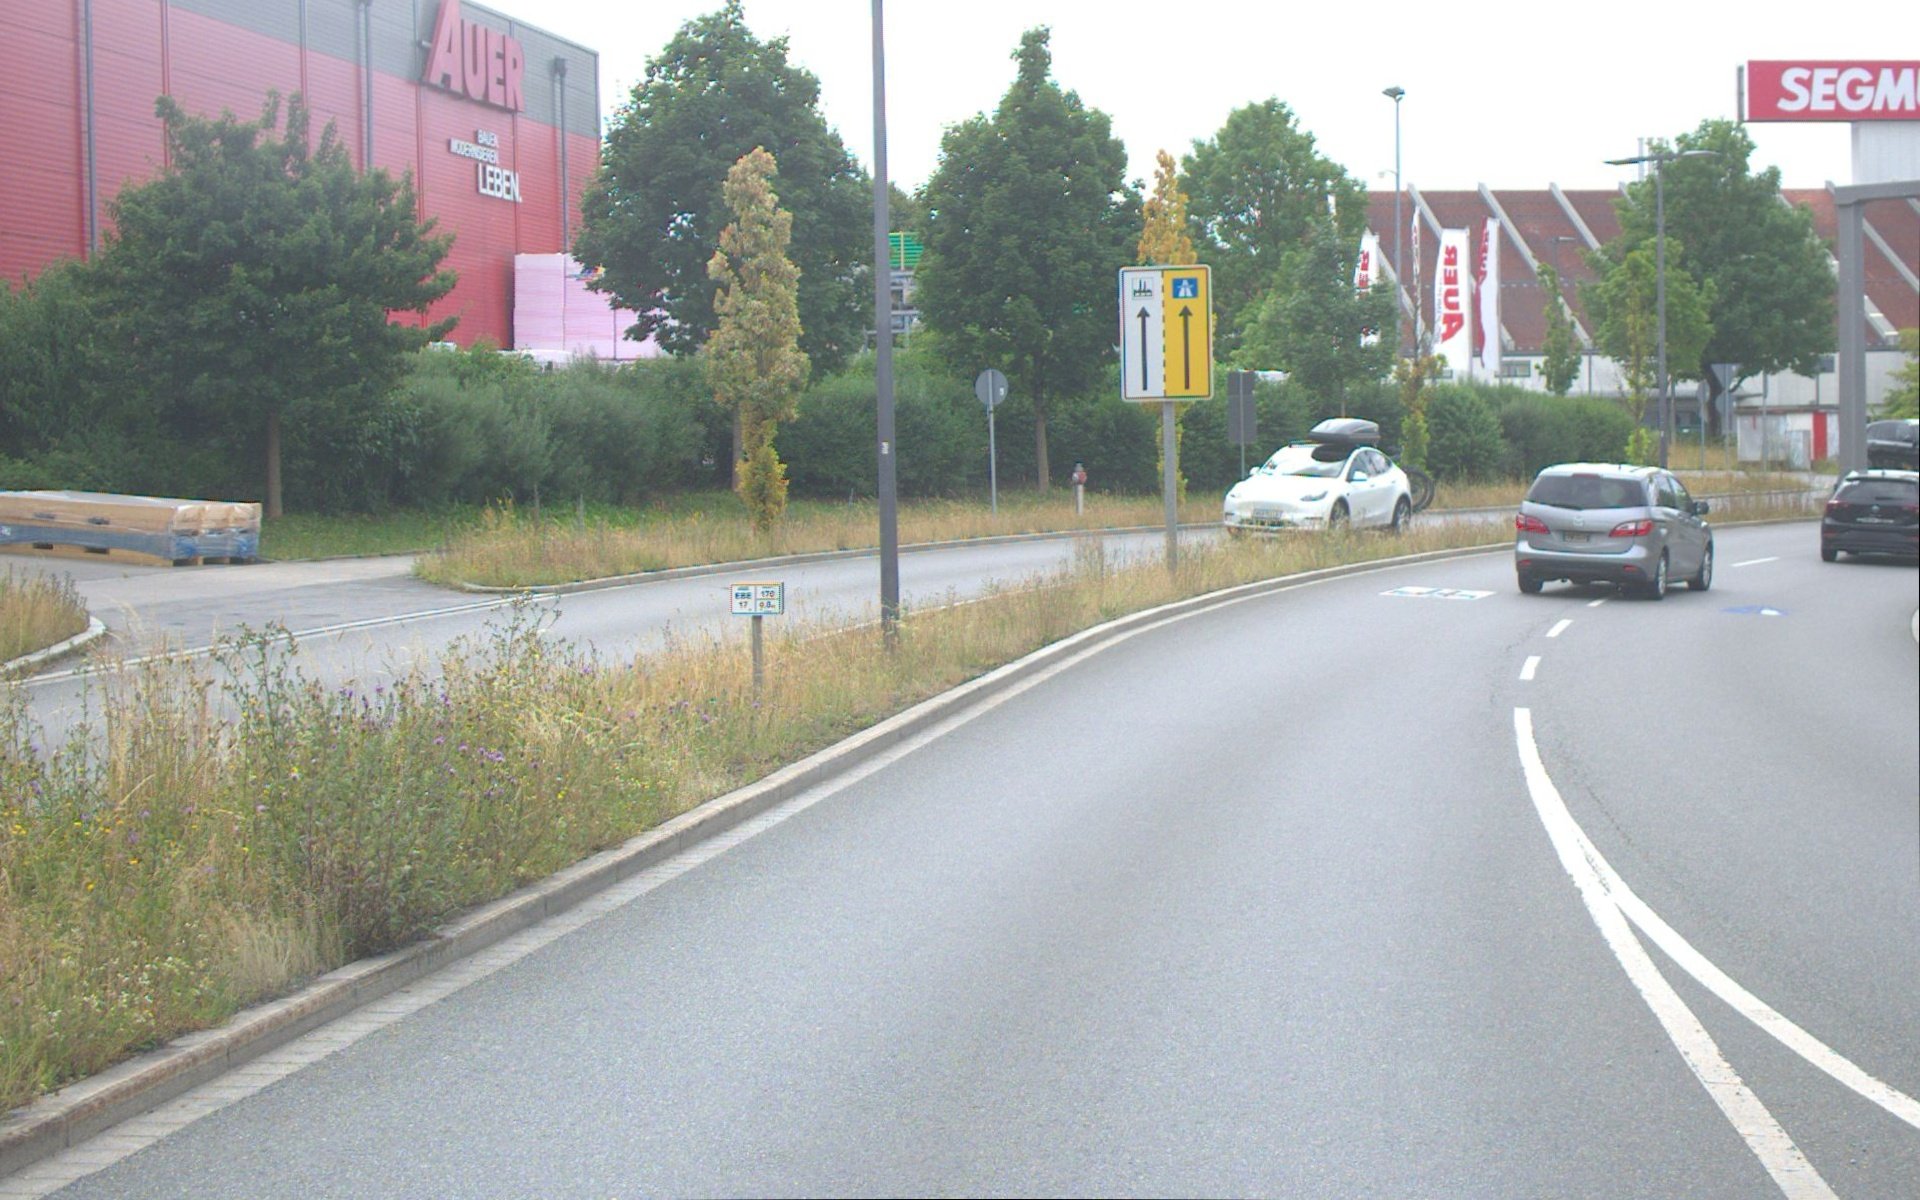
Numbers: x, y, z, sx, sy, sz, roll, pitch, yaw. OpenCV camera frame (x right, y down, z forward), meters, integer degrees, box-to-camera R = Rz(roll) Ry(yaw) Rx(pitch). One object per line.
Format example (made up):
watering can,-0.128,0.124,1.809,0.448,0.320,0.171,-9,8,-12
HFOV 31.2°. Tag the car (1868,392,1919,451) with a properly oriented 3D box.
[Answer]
car,25.849,-4.671,89.876,1.867,1.544,4.257,-2,4,-23

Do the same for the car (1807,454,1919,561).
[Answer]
car,14.470,-1.451,53.536,1.871,1.599,3.730,0,2,24

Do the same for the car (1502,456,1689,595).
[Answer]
car,7.929,-0.938,42.660,1.769,1.611,3.918,2,2,18

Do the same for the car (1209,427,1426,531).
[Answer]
car,6.103,-2.074,58.206,1.912,1.620,4.630,4,4,29
